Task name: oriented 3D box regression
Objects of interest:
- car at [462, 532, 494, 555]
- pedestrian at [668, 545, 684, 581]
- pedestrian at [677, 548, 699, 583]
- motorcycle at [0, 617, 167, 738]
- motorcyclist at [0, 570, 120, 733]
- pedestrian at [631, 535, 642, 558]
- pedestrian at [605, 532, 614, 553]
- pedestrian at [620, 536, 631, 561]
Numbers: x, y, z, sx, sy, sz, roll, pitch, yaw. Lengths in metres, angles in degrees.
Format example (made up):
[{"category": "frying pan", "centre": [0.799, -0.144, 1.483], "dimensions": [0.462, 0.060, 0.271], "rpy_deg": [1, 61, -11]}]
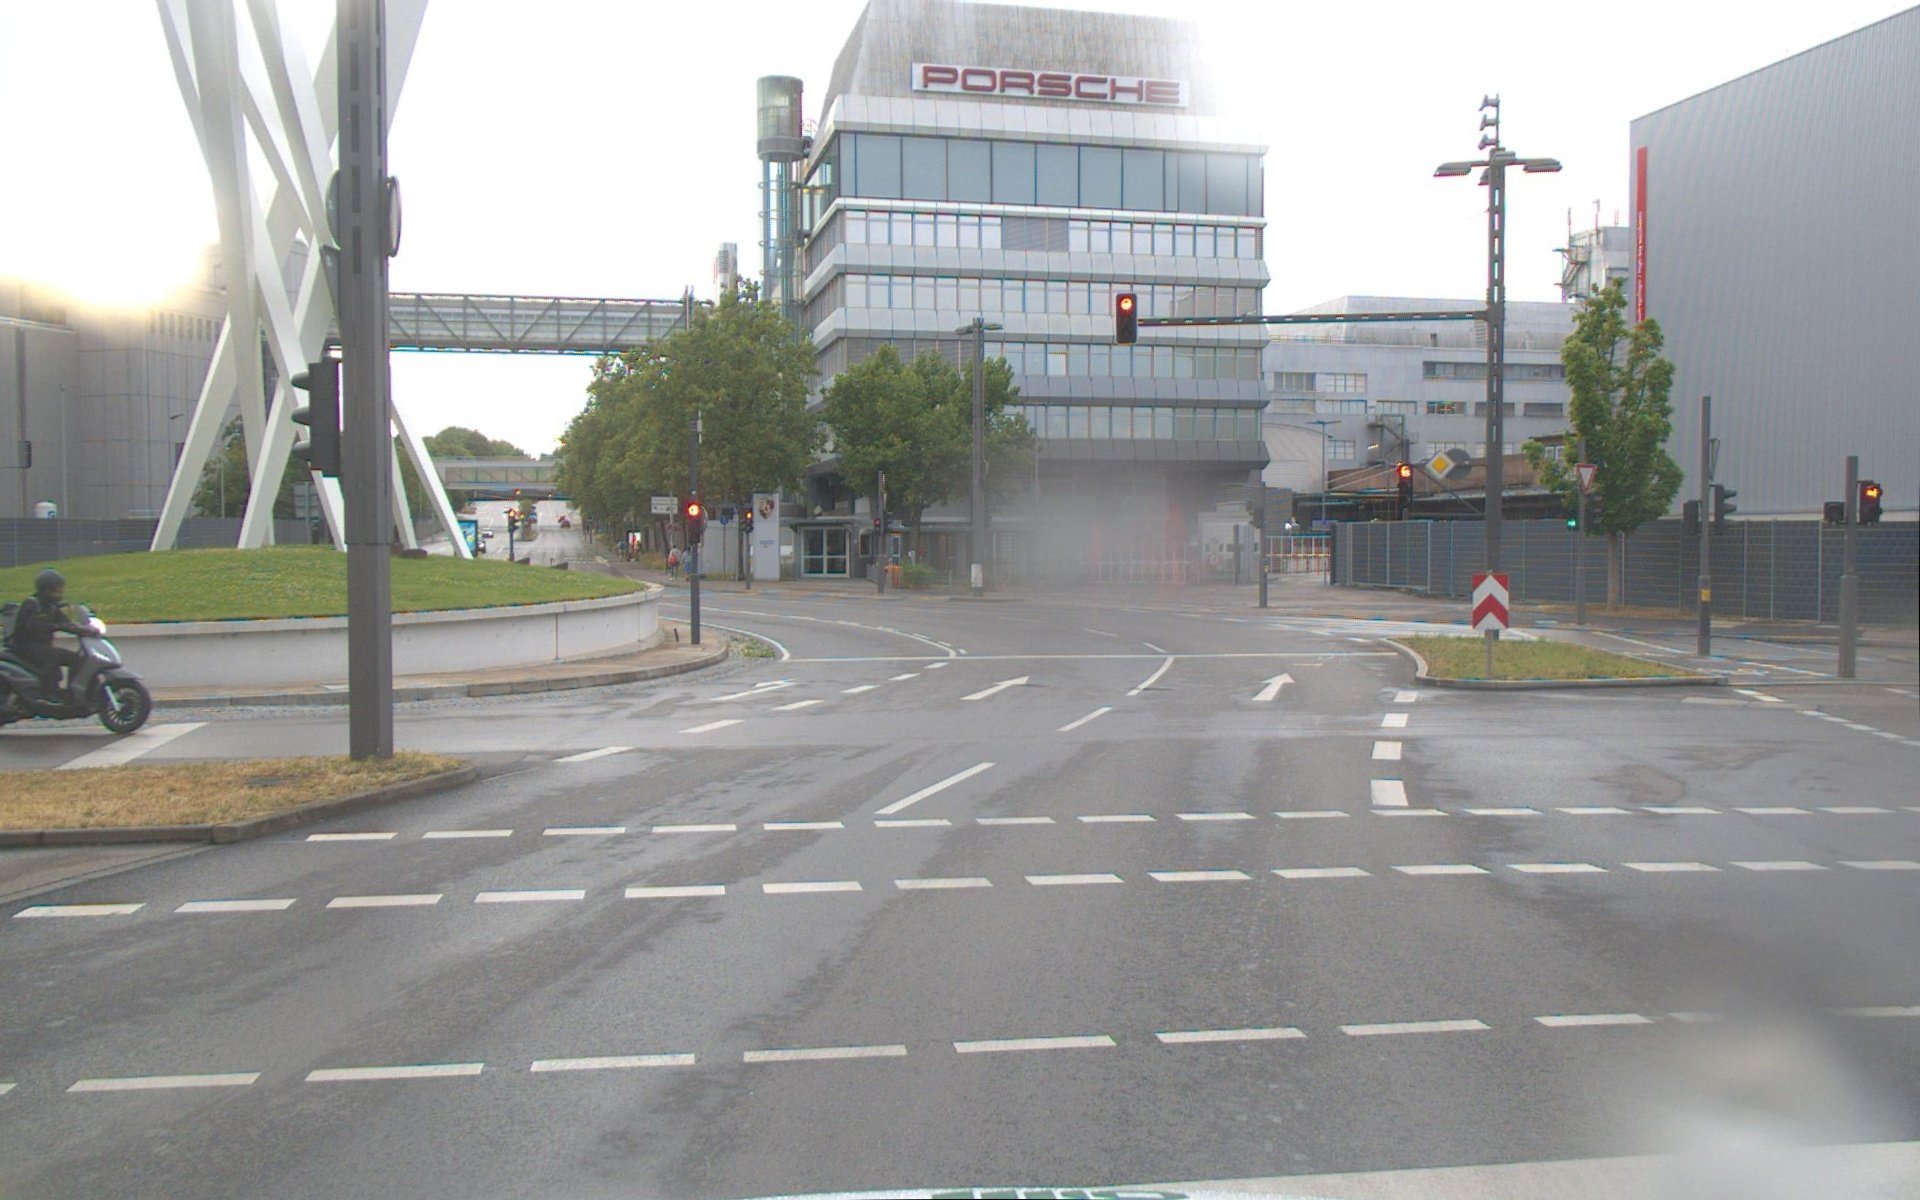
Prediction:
[{"category": "car", "centre": [-46.830, -5.497, 160.880], "dimensions": [1.953, 2.049, 3.999], "rpy_deg": [1, 0, -1]}, {"category": "pedestrian", "centre": [-12.986, -1.687, 75.728], "dimensions": [0.696, 1.619, 0.839], "rpy_deg": [-1, 2, -10]}, {"category": "pedestrian", "centre": [-12.278, -1.562, 74.647], "dimensions": [0.820, 1.547, 0.835], "rpy_deg": [-1, 2, -24]}, {"category": "motorcycle", "centre": [-9.483, 0.801, 17.196], "dimensions": [2.214, 1.213, 0.450], "rpy_deg": [0, 1, -3]}, {"category": "motorcyclist", "centre": [-9.398, 0.521, 17.157], "dimensions": [1.010, 1.651, 0.671], "rpy_deg": [0, 1, 0]}, {"category": "pedestrian", "centre": [-25.421, -4.216, 130.025], "dimensions": [0.744, 1.770, 0.712], "rpy_deg": [1, -1, -10]}, {"category": "pedestrian", "centre": [-35.102, -5.749, 165.491], "dimensions": [0.749, 2.049, 0.693], "rpy_deg": [0, 1, 3]}, {"category": "pedestrian", "centre": [-24.437, -3.755, 120.812], "dimensions": [0.699, 1.770, 0.757], "rpy_deg": [1, -1, -14]}]
